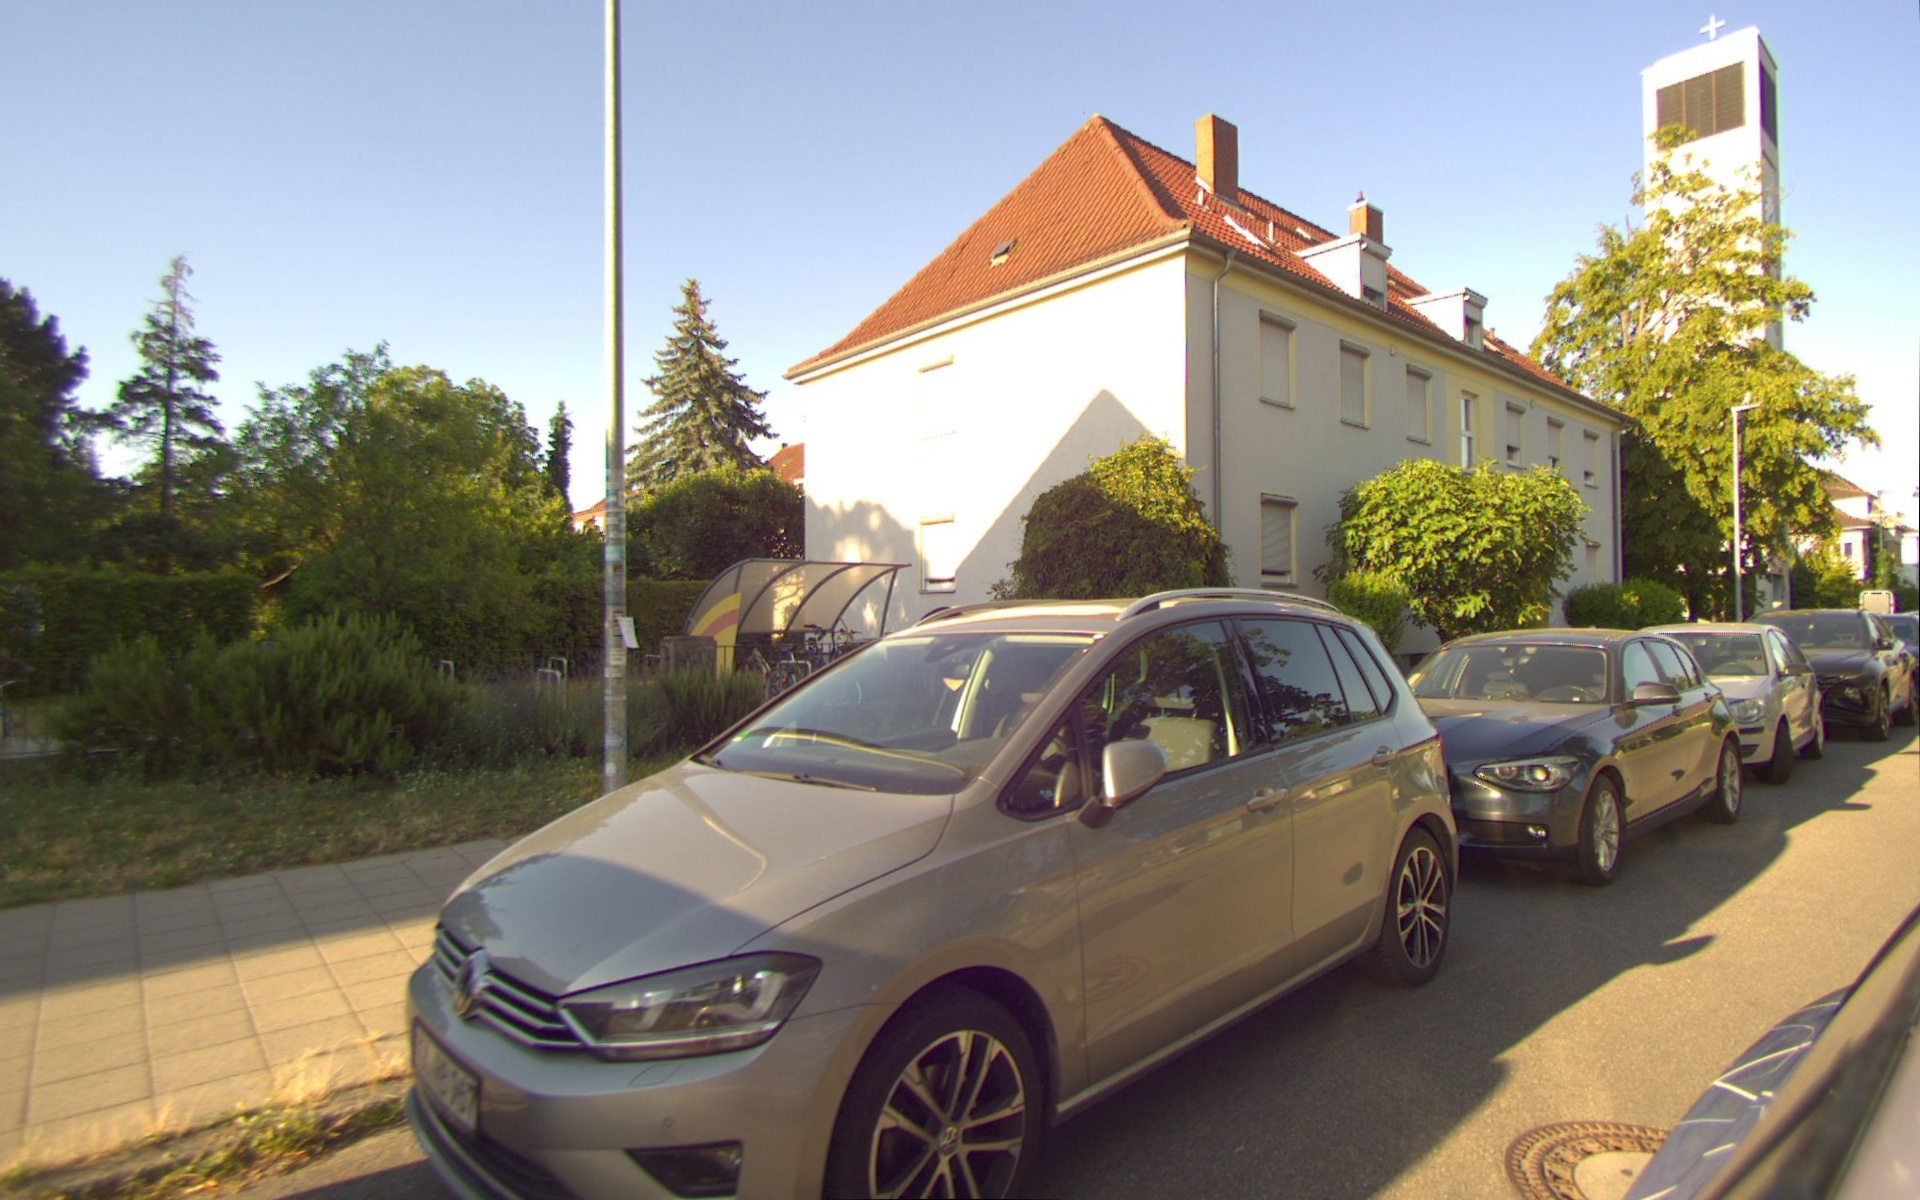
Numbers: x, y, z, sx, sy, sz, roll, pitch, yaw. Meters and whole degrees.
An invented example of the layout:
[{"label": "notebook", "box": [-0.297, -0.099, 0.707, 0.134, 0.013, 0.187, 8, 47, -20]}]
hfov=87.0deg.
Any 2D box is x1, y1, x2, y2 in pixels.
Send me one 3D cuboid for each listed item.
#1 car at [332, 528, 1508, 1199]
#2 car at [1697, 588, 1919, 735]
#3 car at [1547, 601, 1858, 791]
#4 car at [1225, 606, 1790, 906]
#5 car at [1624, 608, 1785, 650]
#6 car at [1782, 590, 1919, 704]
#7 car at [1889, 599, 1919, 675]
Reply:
[{"label": "car", "box": [0.358, 0.718, 3.789, 4.343, 1.581, 1.726, 1, -2, -44]}, {"label": "car", "box": [11.892, 0.767, 13.836, 4.734, 1.679, 1.857, 1, -3, -41]}, {"label": "car", "box": [7.761, 0.865, 10.429, 4.137, 1.569, 1.728, 0, -5, -43]}, {"label": "car", "box": [4.093, 0.837, 7.245, 4.479, 1.481, 1.997, 1, -3, -40]}, {"label": "car", "box": [29.705, 1.138, 40.488, 1.968, 1.504, 4.854, -3, 1, -41]}, {"label": "car", "box": [15.943, 0.789, 17.450, 4.540, 1.743, 1.935, 1, -4, -41]}, {"label": "car", "box": [24.433, 0.848, 24.818, 4.944, 1.754, 1.834, 0, -3, -42]}]
